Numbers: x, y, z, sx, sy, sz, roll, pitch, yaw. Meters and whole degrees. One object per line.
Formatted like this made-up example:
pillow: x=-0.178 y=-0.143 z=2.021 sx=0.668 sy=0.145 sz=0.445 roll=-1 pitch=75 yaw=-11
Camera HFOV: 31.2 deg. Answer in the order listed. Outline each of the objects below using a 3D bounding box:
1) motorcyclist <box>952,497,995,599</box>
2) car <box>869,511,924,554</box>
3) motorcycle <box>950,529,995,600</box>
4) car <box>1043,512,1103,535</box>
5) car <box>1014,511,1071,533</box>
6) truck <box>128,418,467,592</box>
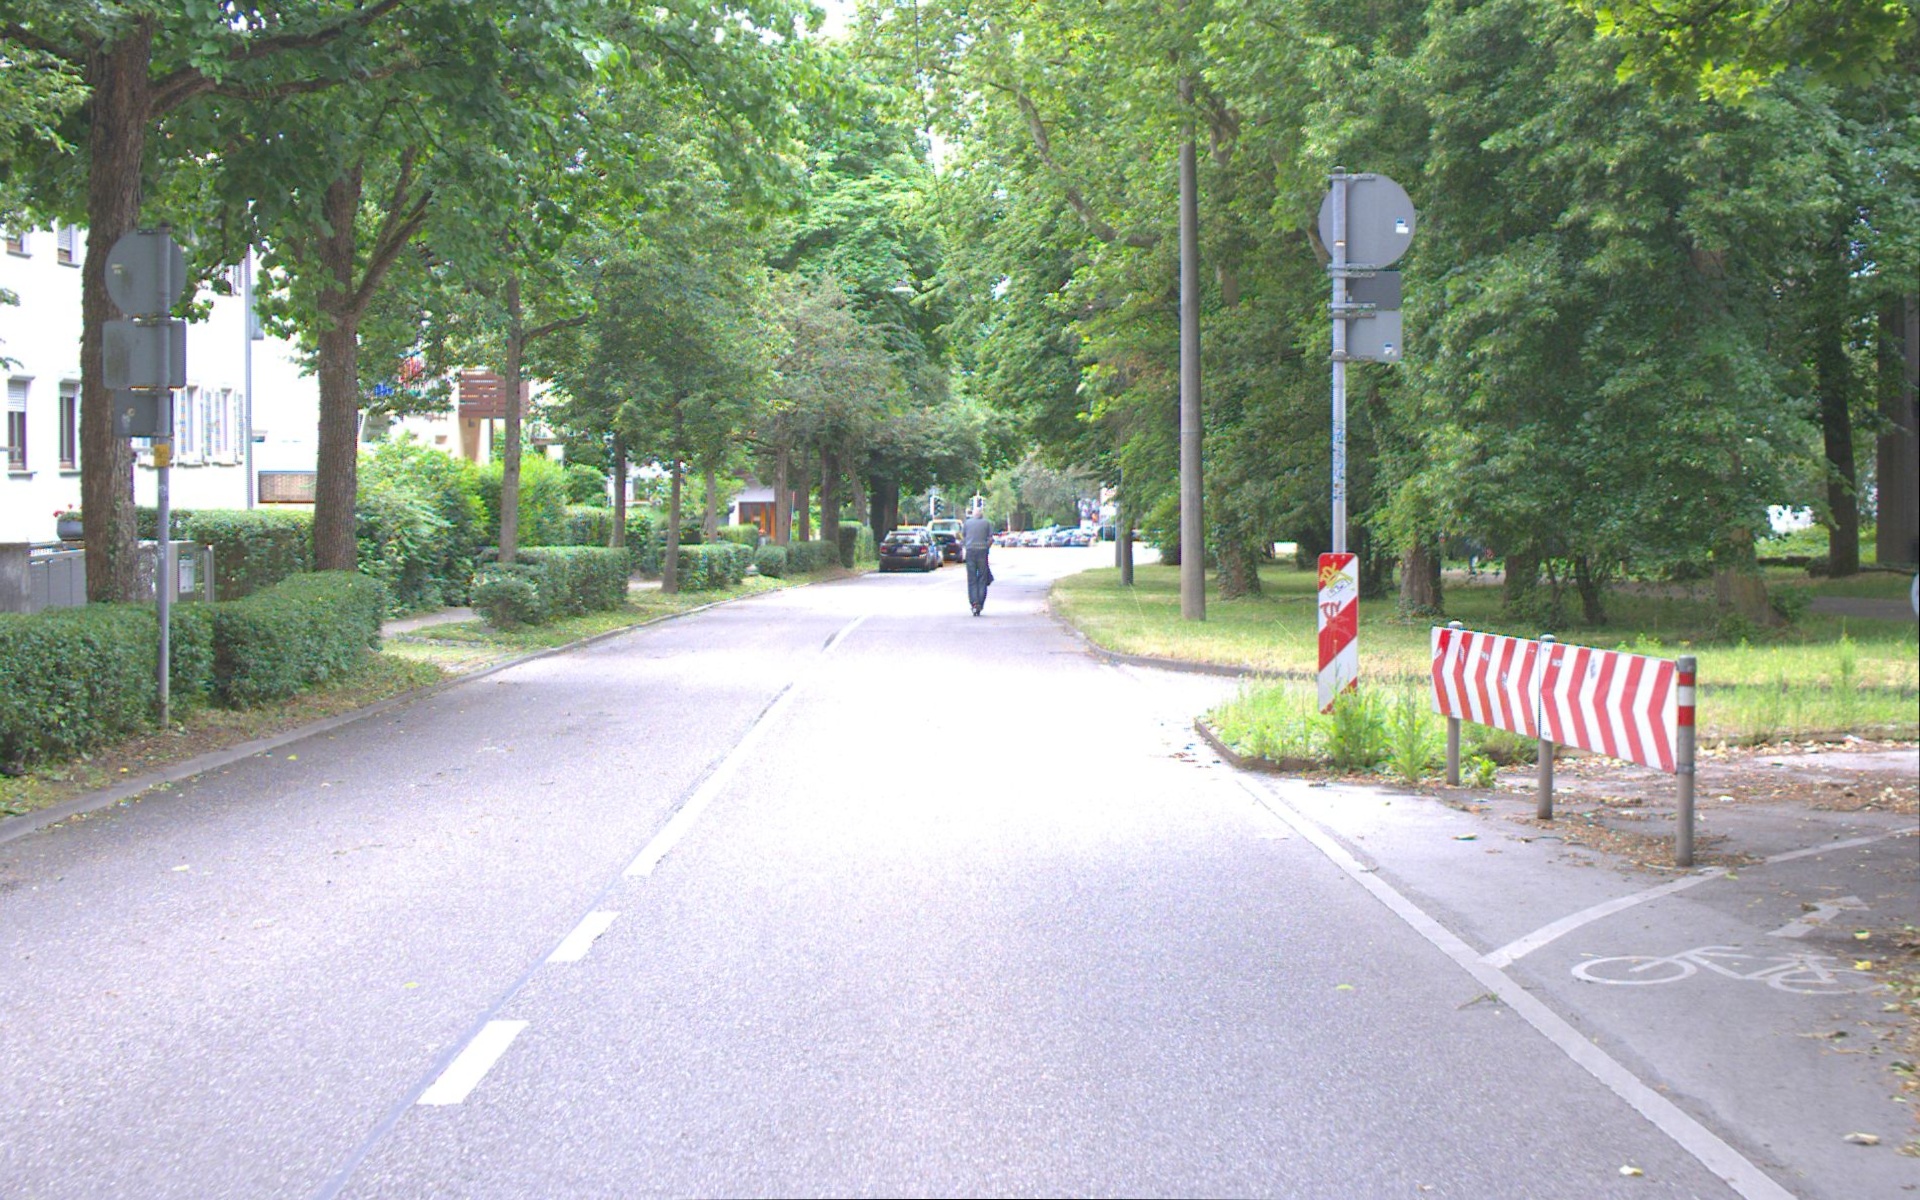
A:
motorcyclist: x=0.234 y=-0.913 z=59.931 sx=0.673 sy=1.755 sz=0.639 roll=1 pitch=1 yaw=4
car: x=-2.230 y=-2.372 z=120.973 sx=1.794 sy=1.467 sz=4.418 roll=-1 pitch=1 yaw=1
motorcycle: x=0.218 y=-0.620 z=59.804 sx=0.673 sy=1.213 sz=1.273 roll=1 pitch=1 yaw=4
car: x=7.625 y=-5.173 z=232.910 sx=3.987 sy=1.505 sz=1.800 roll=-1 pitch=1 yaw=1
car: x=5.872 y=-5.556 z=245.640 sx=3.987 sy=1.505 sz=1.800 roll=-1 pitch=1 yaw=1
truck: x=-12.231 y=-1.752 z=63.752 sx=5.796 sy=3.120 sz=2.518 roll=0 pitch=1 yaw=0
